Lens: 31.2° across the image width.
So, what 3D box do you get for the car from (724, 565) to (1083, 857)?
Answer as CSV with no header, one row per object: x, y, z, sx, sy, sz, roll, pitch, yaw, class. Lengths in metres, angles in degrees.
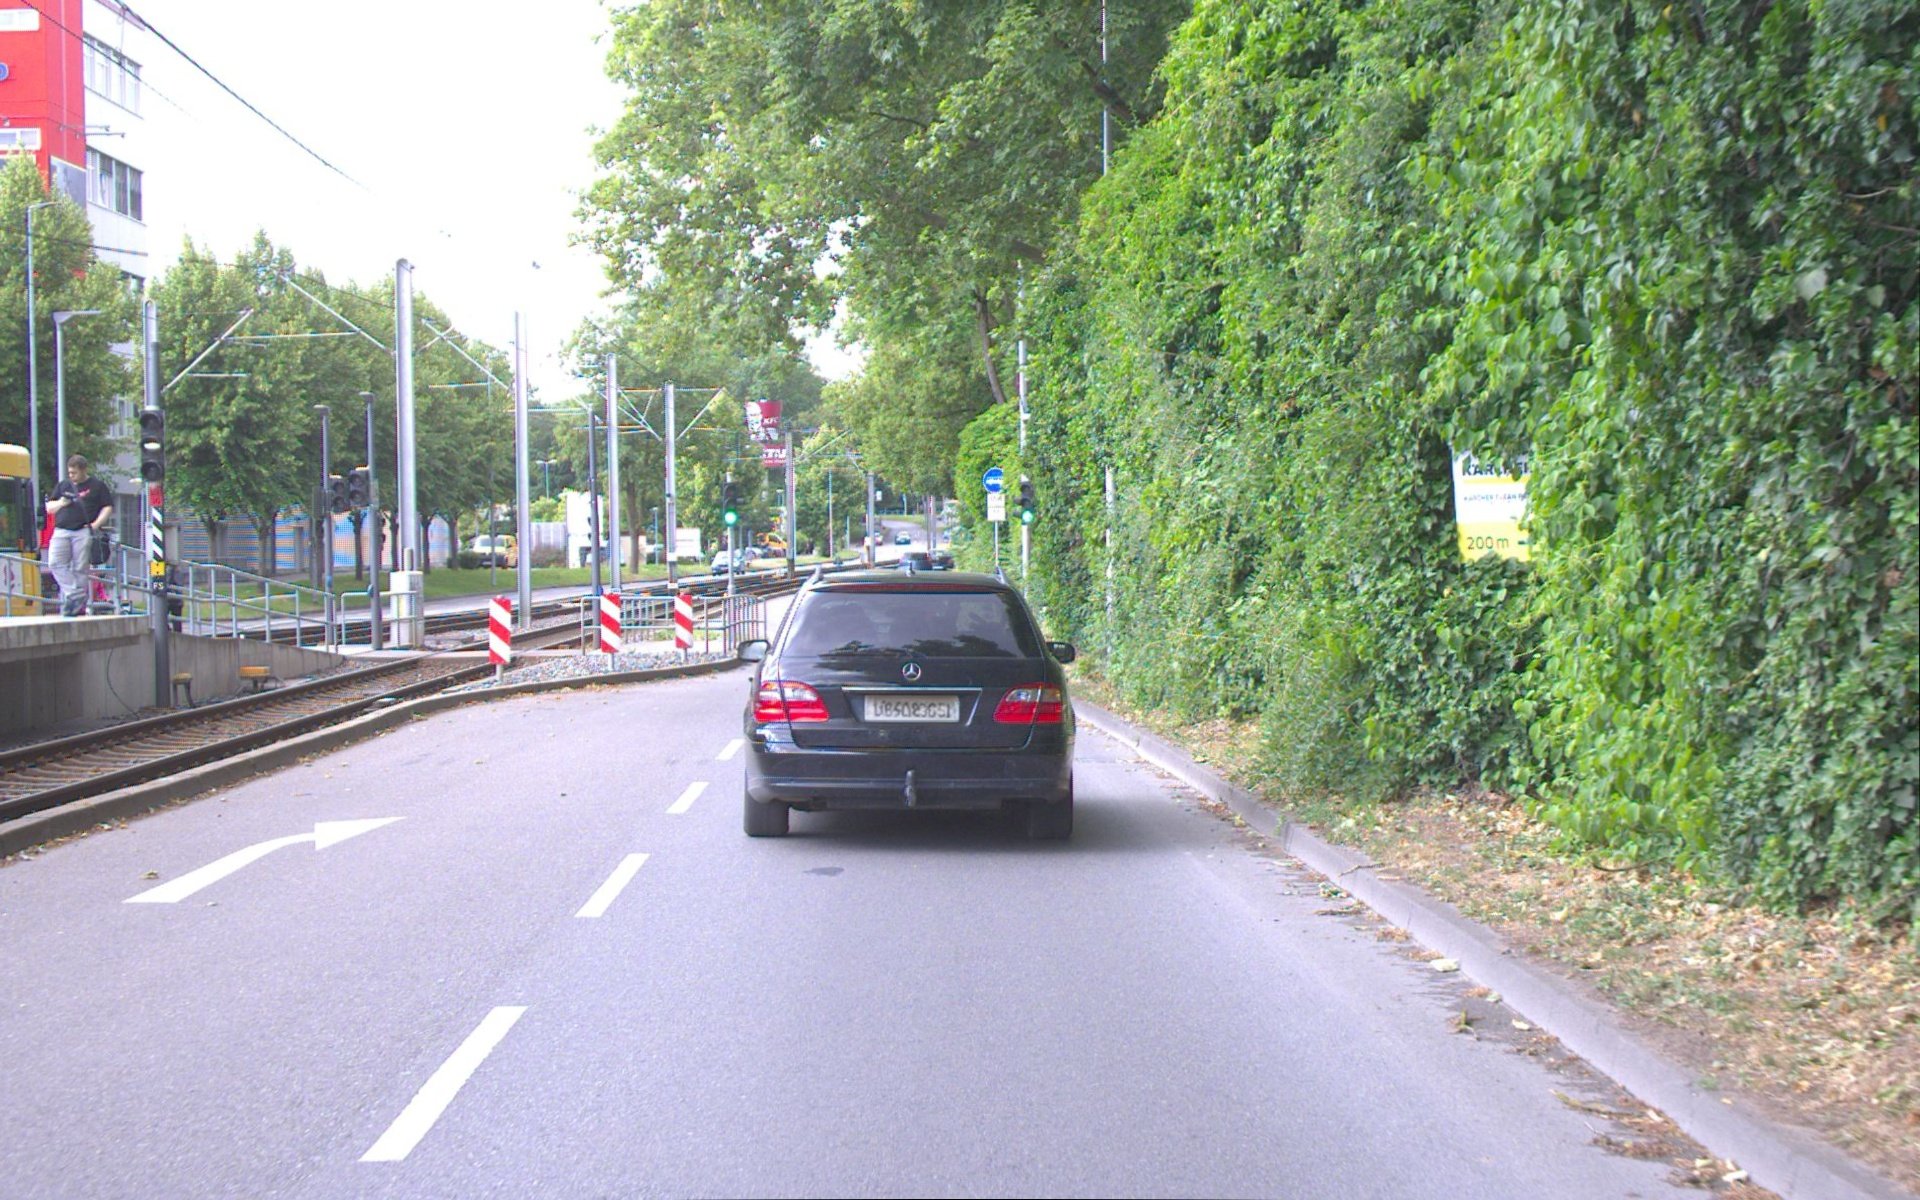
-0.292,0.548,19.842,1.833,1.473,4.416,0,1,0,car

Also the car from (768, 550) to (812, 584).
-8.019,-1.567,162.578,1.825,1.524,3.927,0,1,1,car

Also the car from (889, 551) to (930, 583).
-2.409,-1.585,164.814,1.825,1.525,4.416,-1,1,1,car

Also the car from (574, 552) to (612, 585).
-23.122,-2.004,216.732,1.993,2.007,4.000,-2,1,-1,car

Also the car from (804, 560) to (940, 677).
-1.228,0.222,48.396,1.825,1.524,4.416,0,1,-1,car

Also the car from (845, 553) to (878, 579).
-5.917,-2.053,206.831,1.825,1.524,3.986,0,1,1,car

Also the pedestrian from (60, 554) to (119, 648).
-15.622,0.020,61.698,0.613,1.648,0.795,-2,0,21,pedestrian

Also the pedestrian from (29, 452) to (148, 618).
-8.998,-0.676,35.494,0.745,1.672,0.874,-2,1,43,pedestrian

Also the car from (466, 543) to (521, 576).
-25.295,-2.209,186.629,1.994,1.737,4.987,-1,1,3,car

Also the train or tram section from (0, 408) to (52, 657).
-16.221,-0.862,45.947,2.756,3.815,18.632,-2,1,1,train or tram section

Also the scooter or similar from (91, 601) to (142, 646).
-15.083,0.423,61.500,0.496,0.765,0.798,-2,1,20,scooter or similar

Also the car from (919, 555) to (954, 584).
-1.260,-1.636,185.310,1.825,1.524,3.927,0,1,1,car

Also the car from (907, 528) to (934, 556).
-2.899,-4.234,251.479,1.891,2.007,3.898,-2,1,0,car

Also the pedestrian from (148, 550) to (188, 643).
-14.304,-0.060,62.096,0.517,1.656,0.465,-2,0,10,pedestrian
